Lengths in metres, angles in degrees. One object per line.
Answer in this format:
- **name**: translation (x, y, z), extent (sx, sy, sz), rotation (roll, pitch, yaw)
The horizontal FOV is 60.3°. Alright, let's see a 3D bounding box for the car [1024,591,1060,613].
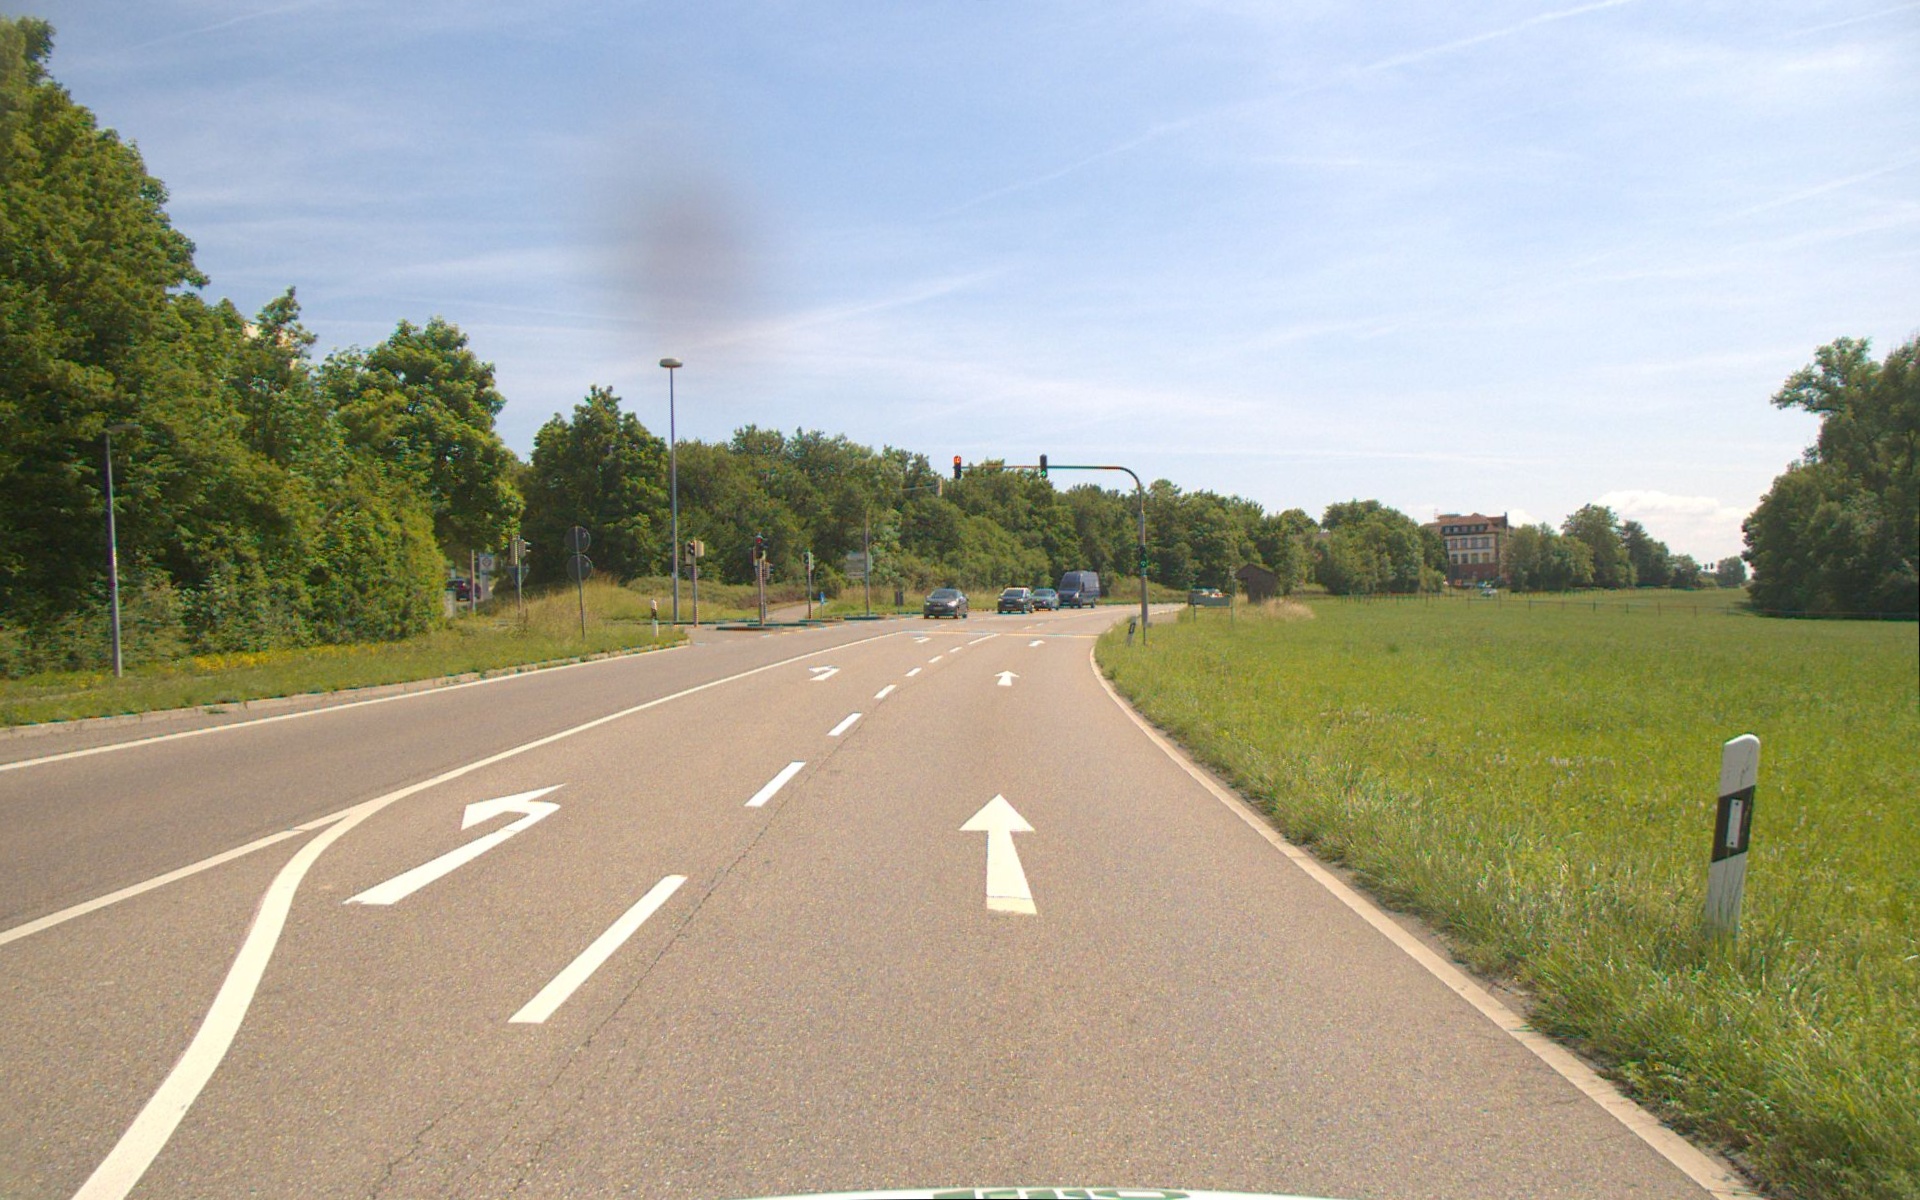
- **car**: translation (5.790, 0.114, 116.455), extent (1.670, 1.509, 3.835), rotation (0, 0, 16)

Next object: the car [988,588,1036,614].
- **car**: translation (3.266, 0.054, 103.042), extent (1.932, 1.589, 4.191), rotation (0, 0, 16)

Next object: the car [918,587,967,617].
- **car**: translation (-0.853, 0.085, 84.513), extent (1.753, 1.500, 4.314), rotation (0, 0, 9)

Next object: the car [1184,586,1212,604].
- **car**: translation (21.325, -0.431, 148.297), extent (1.951, 1.601, 4.002), rotation (0, 0, 17)

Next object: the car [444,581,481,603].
- **car**: translation (-36.796, -0.593, 122.470), extent (1.956, 1.579, 3.994), rotation (0, 0, -7)

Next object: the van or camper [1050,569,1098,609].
- **van or camper**: translation (8.967, -0.901, 129.604), extent (2.192, 2.964, 7.252), rotation (0, 2, 17)
